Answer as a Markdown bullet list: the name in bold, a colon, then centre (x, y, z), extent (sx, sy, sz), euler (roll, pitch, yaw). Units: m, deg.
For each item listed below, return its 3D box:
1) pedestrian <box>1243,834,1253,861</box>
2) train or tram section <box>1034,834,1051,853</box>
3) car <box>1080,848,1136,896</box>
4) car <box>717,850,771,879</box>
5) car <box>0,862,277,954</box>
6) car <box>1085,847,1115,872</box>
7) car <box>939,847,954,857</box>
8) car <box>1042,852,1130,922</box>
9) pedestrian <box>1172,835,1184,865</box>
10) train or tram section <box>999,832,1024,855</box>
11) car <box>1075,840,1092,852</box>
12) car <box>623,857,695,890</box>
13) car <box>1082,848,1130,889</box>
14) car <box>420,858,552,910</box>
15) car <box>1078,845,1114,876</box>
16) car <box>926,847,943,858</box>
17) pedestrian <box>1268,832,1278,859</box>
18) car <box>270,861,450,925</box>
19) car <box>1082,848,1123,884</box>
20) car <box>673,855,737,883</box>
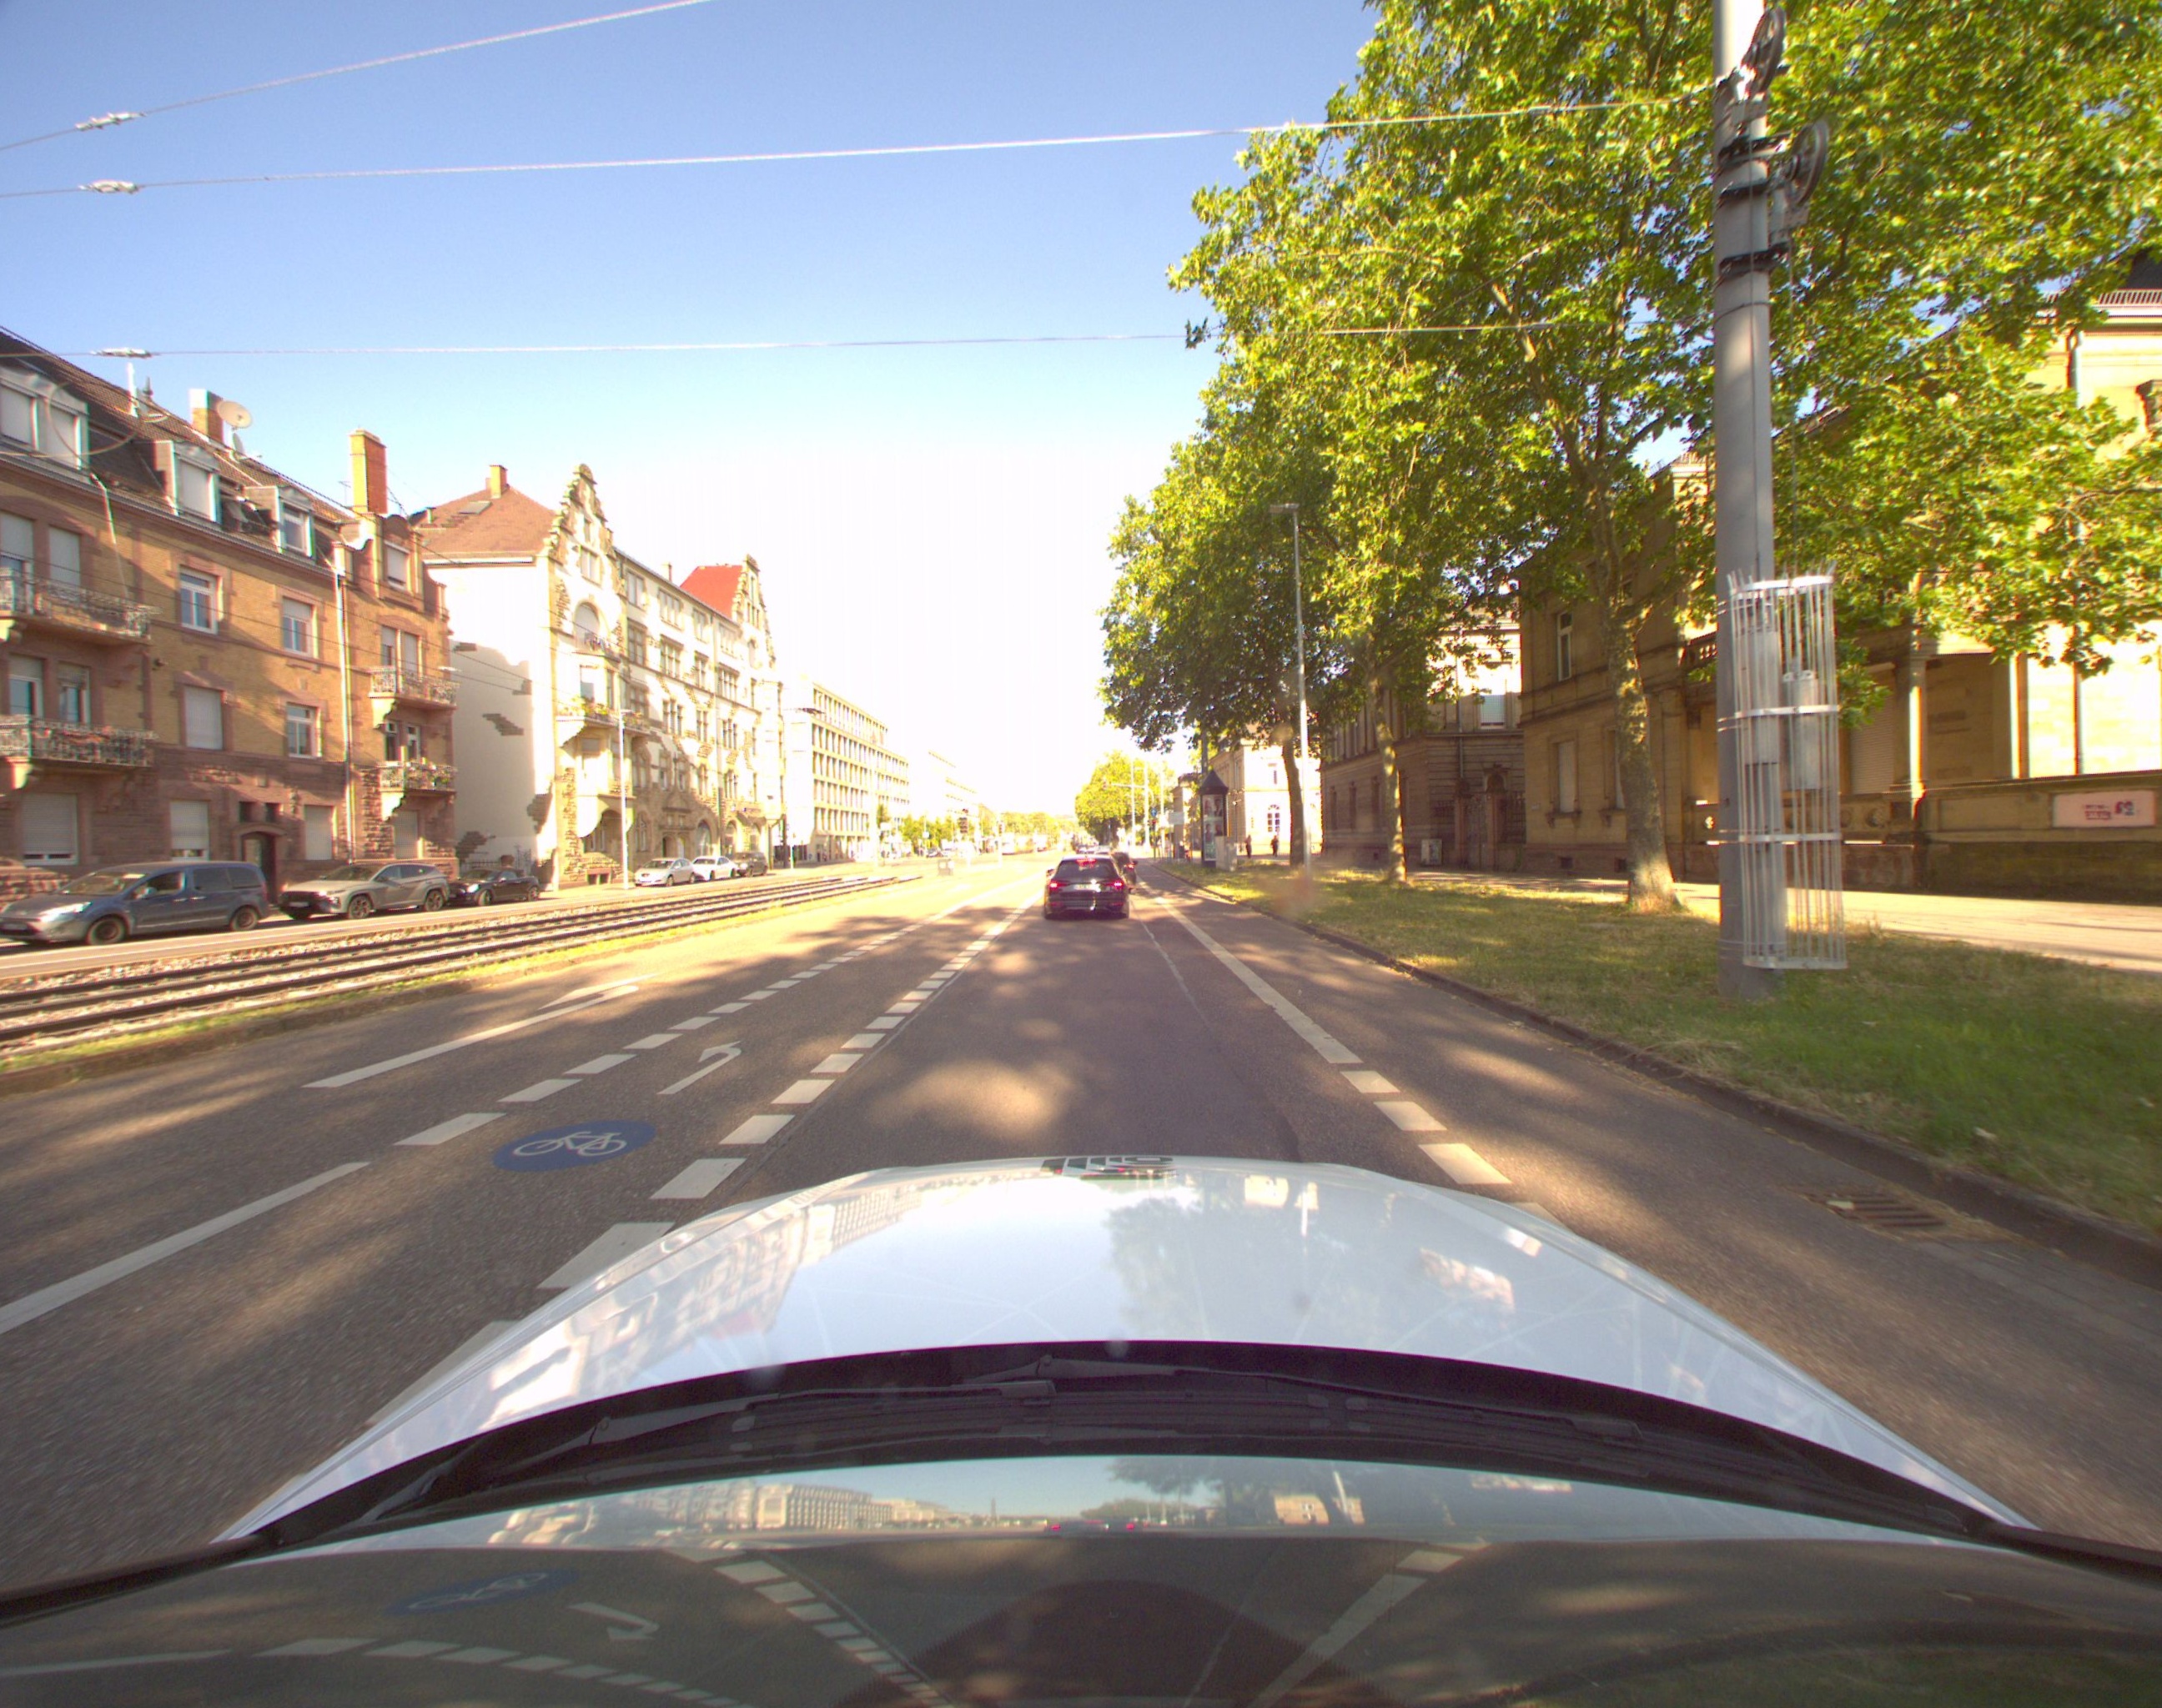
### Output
- **pedestrian**: centre (11.068, -0.433, 53.934), extent (0.584, 1.728, 0.652), euler (0, 1, 13)
- **train or tram section**: centre (-7.585, -2.103, 161.350), extent (2.817, 3.450, 9.061), euler (-2, 1, -1)
- **car**: centre (0.954, 0.574, 28.711), extent (1.787, 1.510, 4.002), euler (-2, 1, 2)
- **car**: centre (-22.032, 0.639, 53.451), extent (1.788, 1.718, 4.184), euler (1, 1, 0)
- **car**: centre (-22.000, 1.130, 19.031), extent (1.786, 1.753, 4.460), euler (1, 1, 4)
- **car**: centre (1.242, 0.314, 52.667), extent (1.787, 1.510, 4.002), euler (-2, 1, 2)
- **car**: centre (-20.915, -0.294, 126.616), extent (1.789, 1.510, 3.998), euler (-2, 1, -1)
- **car**: centre (0.126, 0.689, 19.200), extent (1.827, 1.391, 4.159), euler (-1, 1, 0)
- **pedestrian**: centre (5.695, -0.233, 47.845), extent (0.584, 1.728, 0.652), euler (0, 1, 13)
- **train or tram section**: centre (-11.042, -1.757, 130.020), extent (2.815, 3.450, 9.067), euler (-2, 1, 1)
- **car**: centre (0.336, -0.969, 105.600), extent (1.785, 1.510, 4.008), euler (0, 0, 7)
- **car**: centre (-21.866, 0.962, 42.395), extent (1.790, 1.510, 3.995), euler (1, 1, -3)
- **car**: centre (1.003, 0.539, 33.205), extent (1.787, 1.510, 4.002), euler (-2, 1, 2)
- **car**: centre (-21.853, 1.038, 30.140), extent (1.681, 1.652, 4.200), euler (1, 1, 1)
- **car**: centre (0.815, 0.326, 43.771), extent (1.787, 1.510, 4.002), euler (-2, 1, 2)
- **car**: centre (-21.301, -0.223, 118.226), extent (1.789, 1.510, 3.998), euler (-2, 1, -1)
- **pedestrian**: centre (12.674, -0.556, 53.740), extent (0.583, 1.728, 0.653), euler (0, 1, 15)
- **car**: centre (-21.860, 1.107, 24.952), extent (1.681, 1.652, 4.200), euler (1, 1, 1)
- **car**: centre (1.013, 0.499, 37.948), extent (1.787, 1.510, 4.002), euler (-2, 1, 2)
- **car**: centre (-22.046, 0.851, 47.882), extent (1.788, 1.510, 4.184), euler (1, 1, 0)
